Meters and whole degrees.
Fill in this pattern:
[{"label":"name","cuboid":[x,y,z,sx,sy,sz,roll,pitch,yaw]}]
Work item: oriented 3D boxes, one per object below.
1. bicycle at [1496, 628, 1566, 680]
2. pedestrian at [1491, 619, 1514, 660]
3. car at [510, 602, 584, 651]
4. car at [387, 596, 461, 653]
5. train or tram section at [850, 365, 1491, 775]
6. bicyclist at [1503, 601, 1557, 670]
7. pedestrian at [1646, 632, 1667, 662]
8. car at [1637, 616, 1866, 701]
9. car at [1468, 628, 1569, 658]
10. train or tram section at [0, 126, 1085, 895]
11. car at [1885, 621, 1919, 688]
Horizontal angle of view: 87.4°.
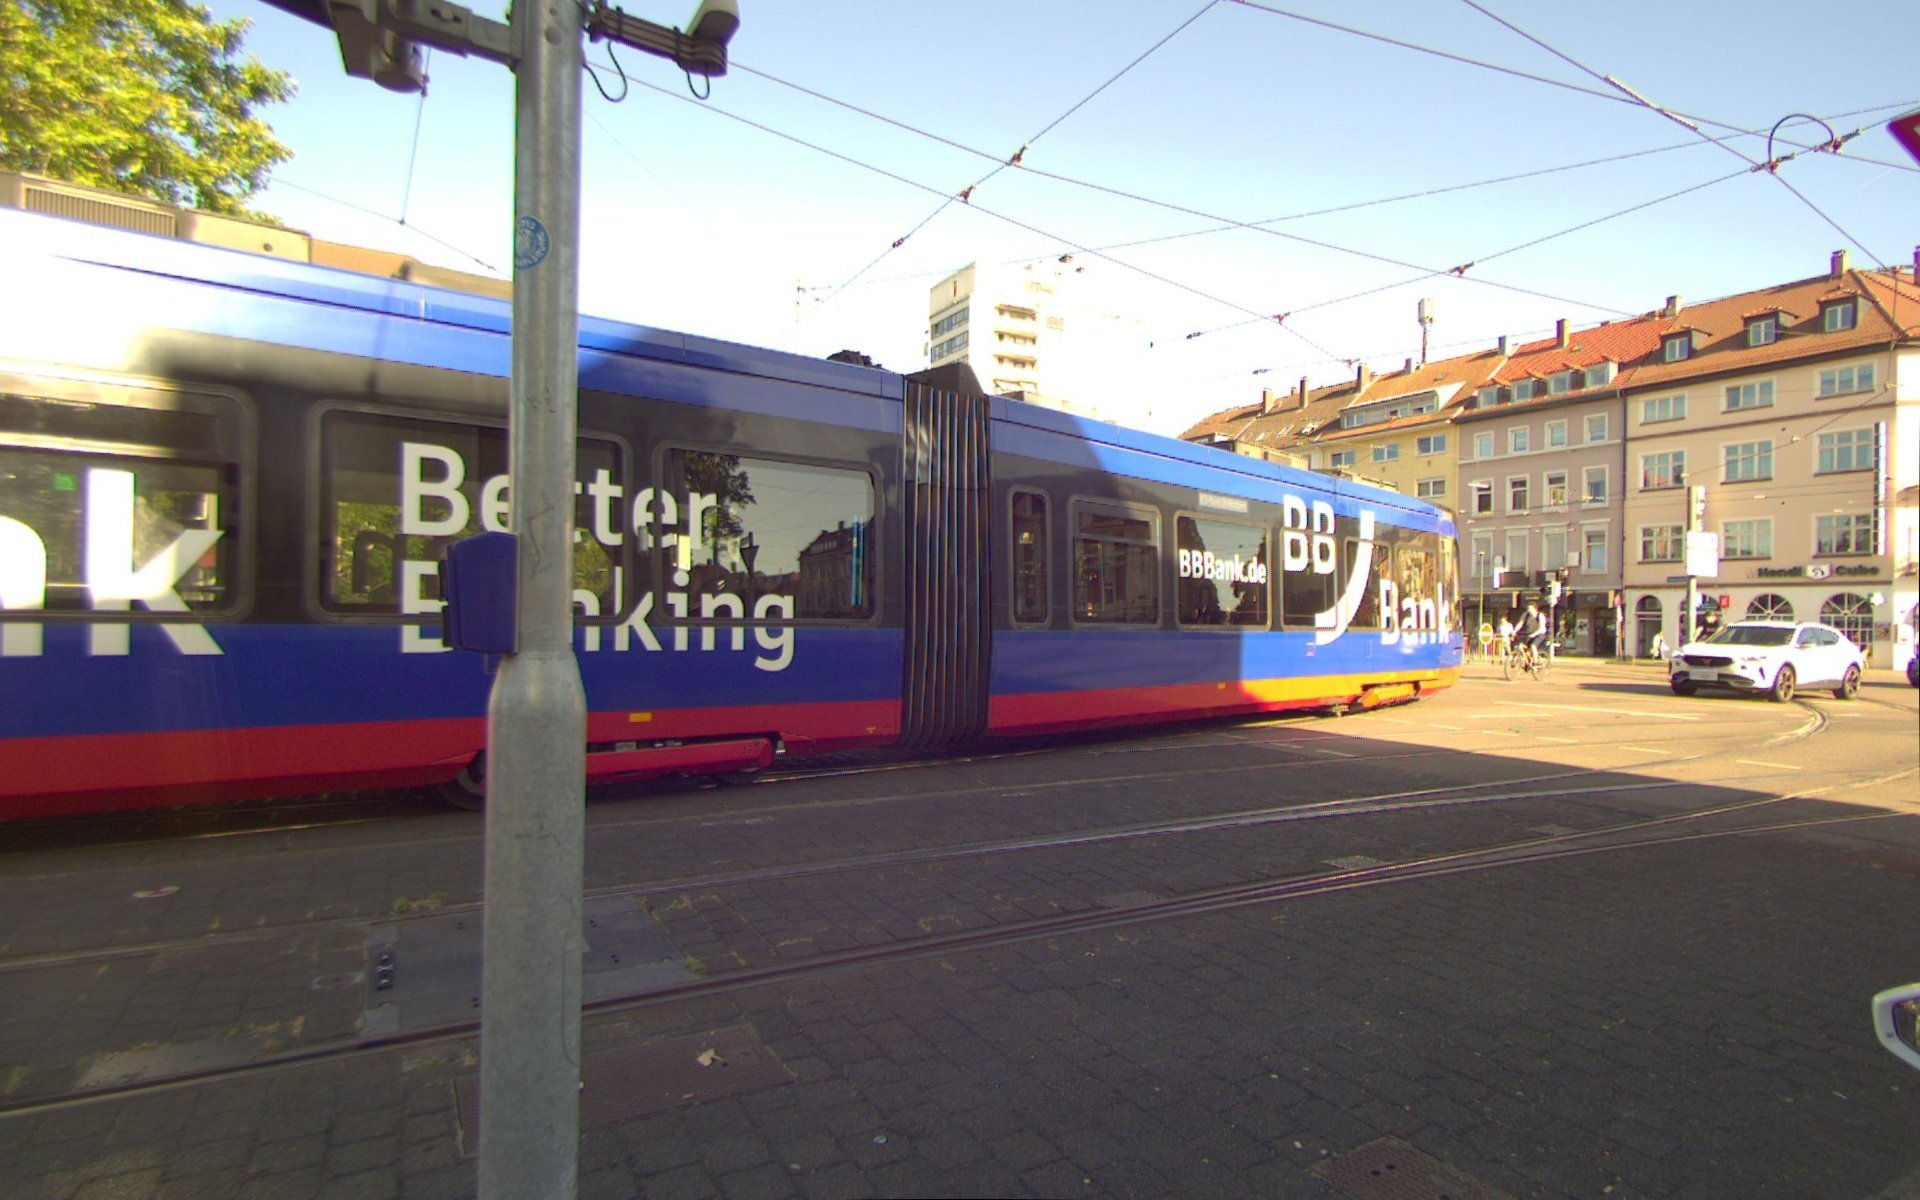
[{"label":"bicycle","cuboid":[13.531,1.276,23.785,2.032,1.181,0.483,1,-1,-31]},{"label":"pedestrian","cuboid":[22.213,1.597,41.133,0.713,1.648,0.671,1,-1,19]},{"label":"car","cuboid":[-13.617,0.853,32.975,1.697,1.506,4.186,1,-1,-30]},{"label":"car","cuboid":[-15.315,0.674,28.607,1.697,1.506,4.186,1,-1,-30]},{"label":"train or tram section","cuboid":[4.054,-0.131,14.360,3.023,3.661,12.041,0,-1,44]},{"label":"bicyclist","cuboid":[13.507,0.834,23.810,0.975,1.580,0.711,1,-1,-30]},{"label":"pedestrian","cuboid":[35.488,2.390,51.191,0.688,1.544,0.653,1,-1,-34]},{"label":"car","cuboid":[15.617,1.099,19.794,4.292,1.517,1.986,1,-1,-28]},{"label":"car","cuboid":[30.574,2.327,55.091,1.725,1.459,4.614,2,-1,-32]},{"label":"train or tram section","cuboid":[-4.731,-0.398,6.557,12.385,3.661,3.033,2,-1,-37]},{"label":"car","cuboid":[24.198,1.299,23.846,4.512,1.517,1.768,1,-1,-26]}]
